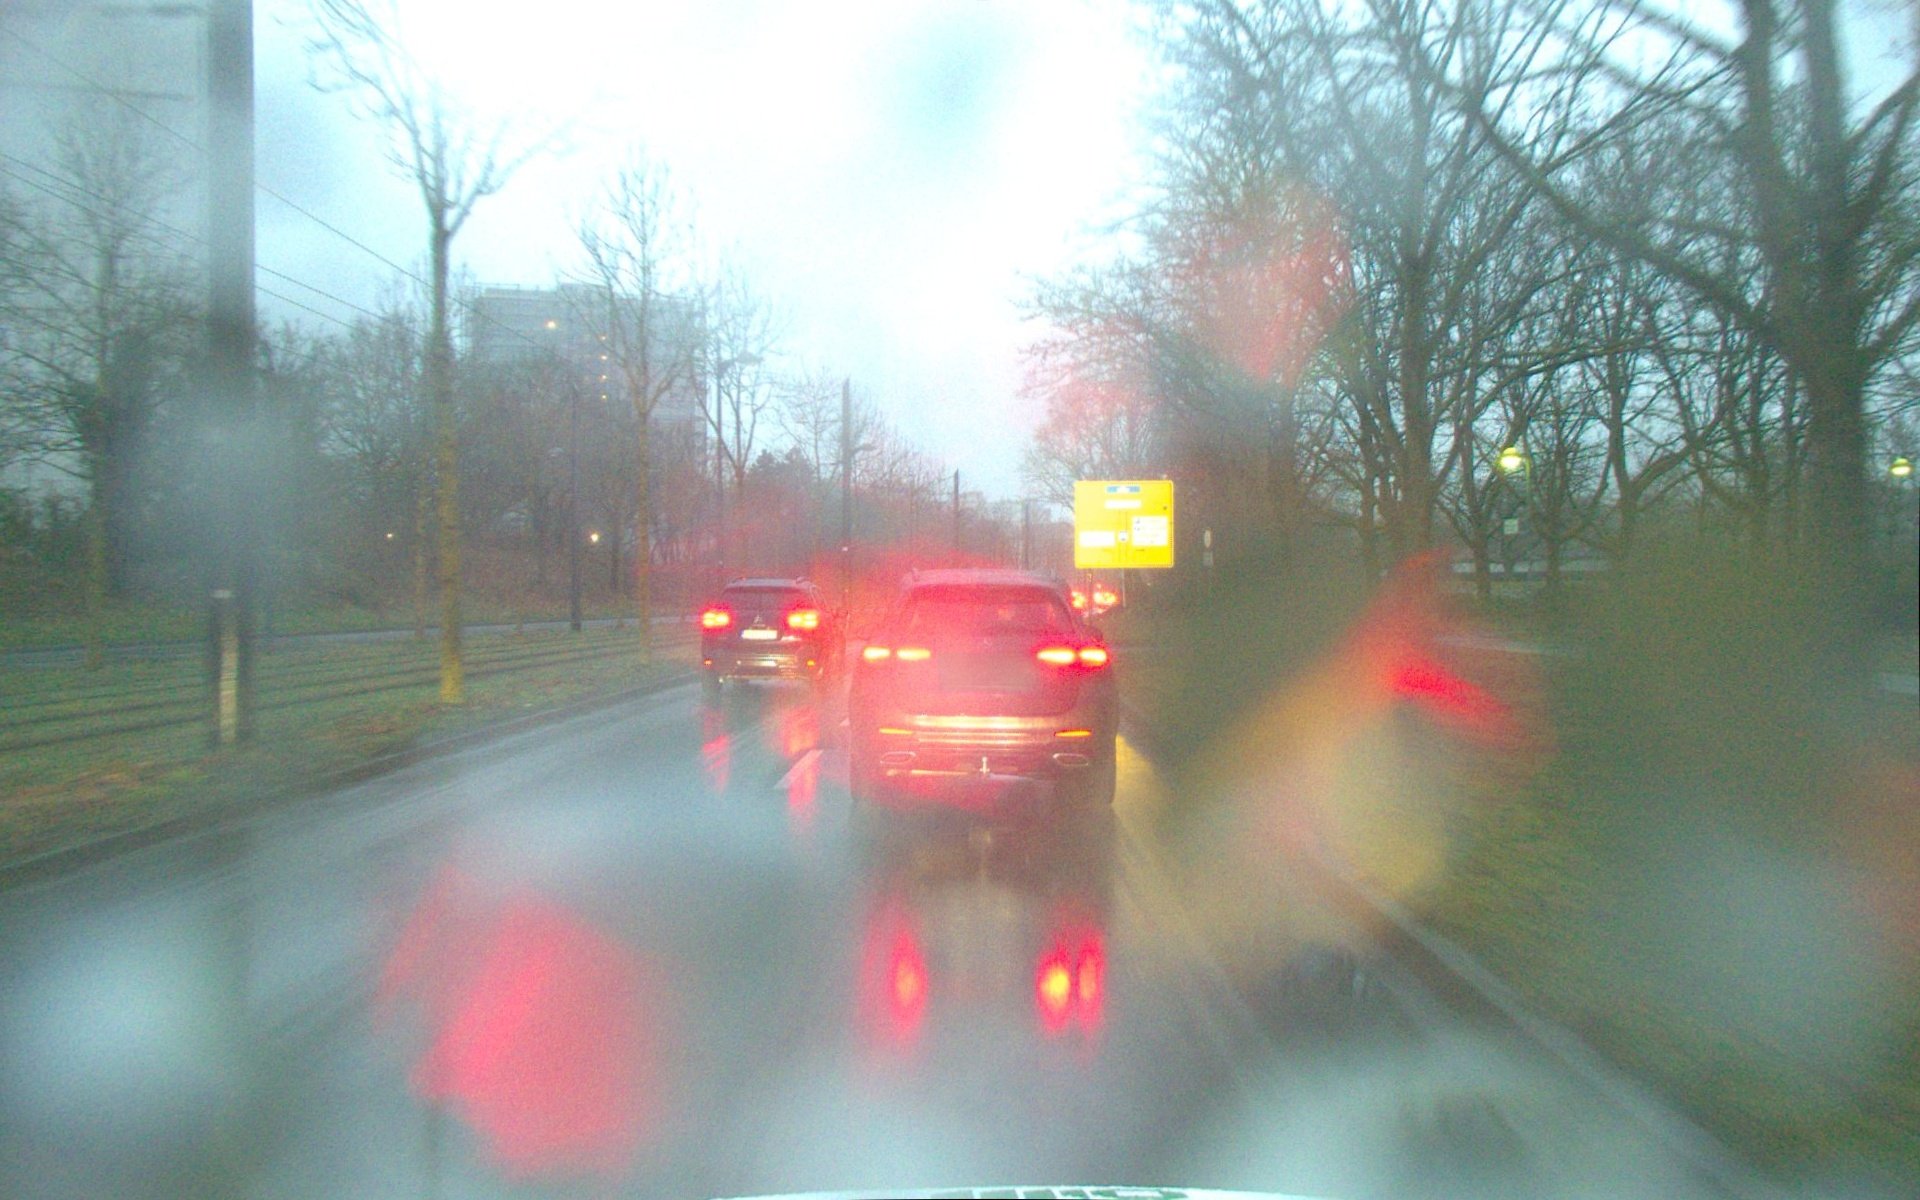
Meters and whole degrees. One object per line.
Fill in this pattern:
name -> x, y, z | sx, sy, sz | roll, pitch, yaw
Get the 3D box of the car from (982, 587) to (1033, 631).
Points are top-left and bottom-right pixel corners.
car -> 1.708, 0.312, 60.550 | 1.674, 1.585, 3.995 | 0, 0, -1

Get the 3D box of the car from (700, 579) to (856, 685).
car -> -2.709, 0.429, 25.493 | 1.841, 1.485, 4.001 | 0, 1, 2

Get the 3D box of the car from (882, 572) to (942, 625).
car -> -1.529, -0.070, 53.216 | 1.842, 1.621, 3.999 | 0, 1, -1

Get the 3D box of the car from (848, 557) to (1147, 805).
car -> 0.163, 0.513, 12.853 | 1.958, 1.612, 3.998 | 0, 1, -3
